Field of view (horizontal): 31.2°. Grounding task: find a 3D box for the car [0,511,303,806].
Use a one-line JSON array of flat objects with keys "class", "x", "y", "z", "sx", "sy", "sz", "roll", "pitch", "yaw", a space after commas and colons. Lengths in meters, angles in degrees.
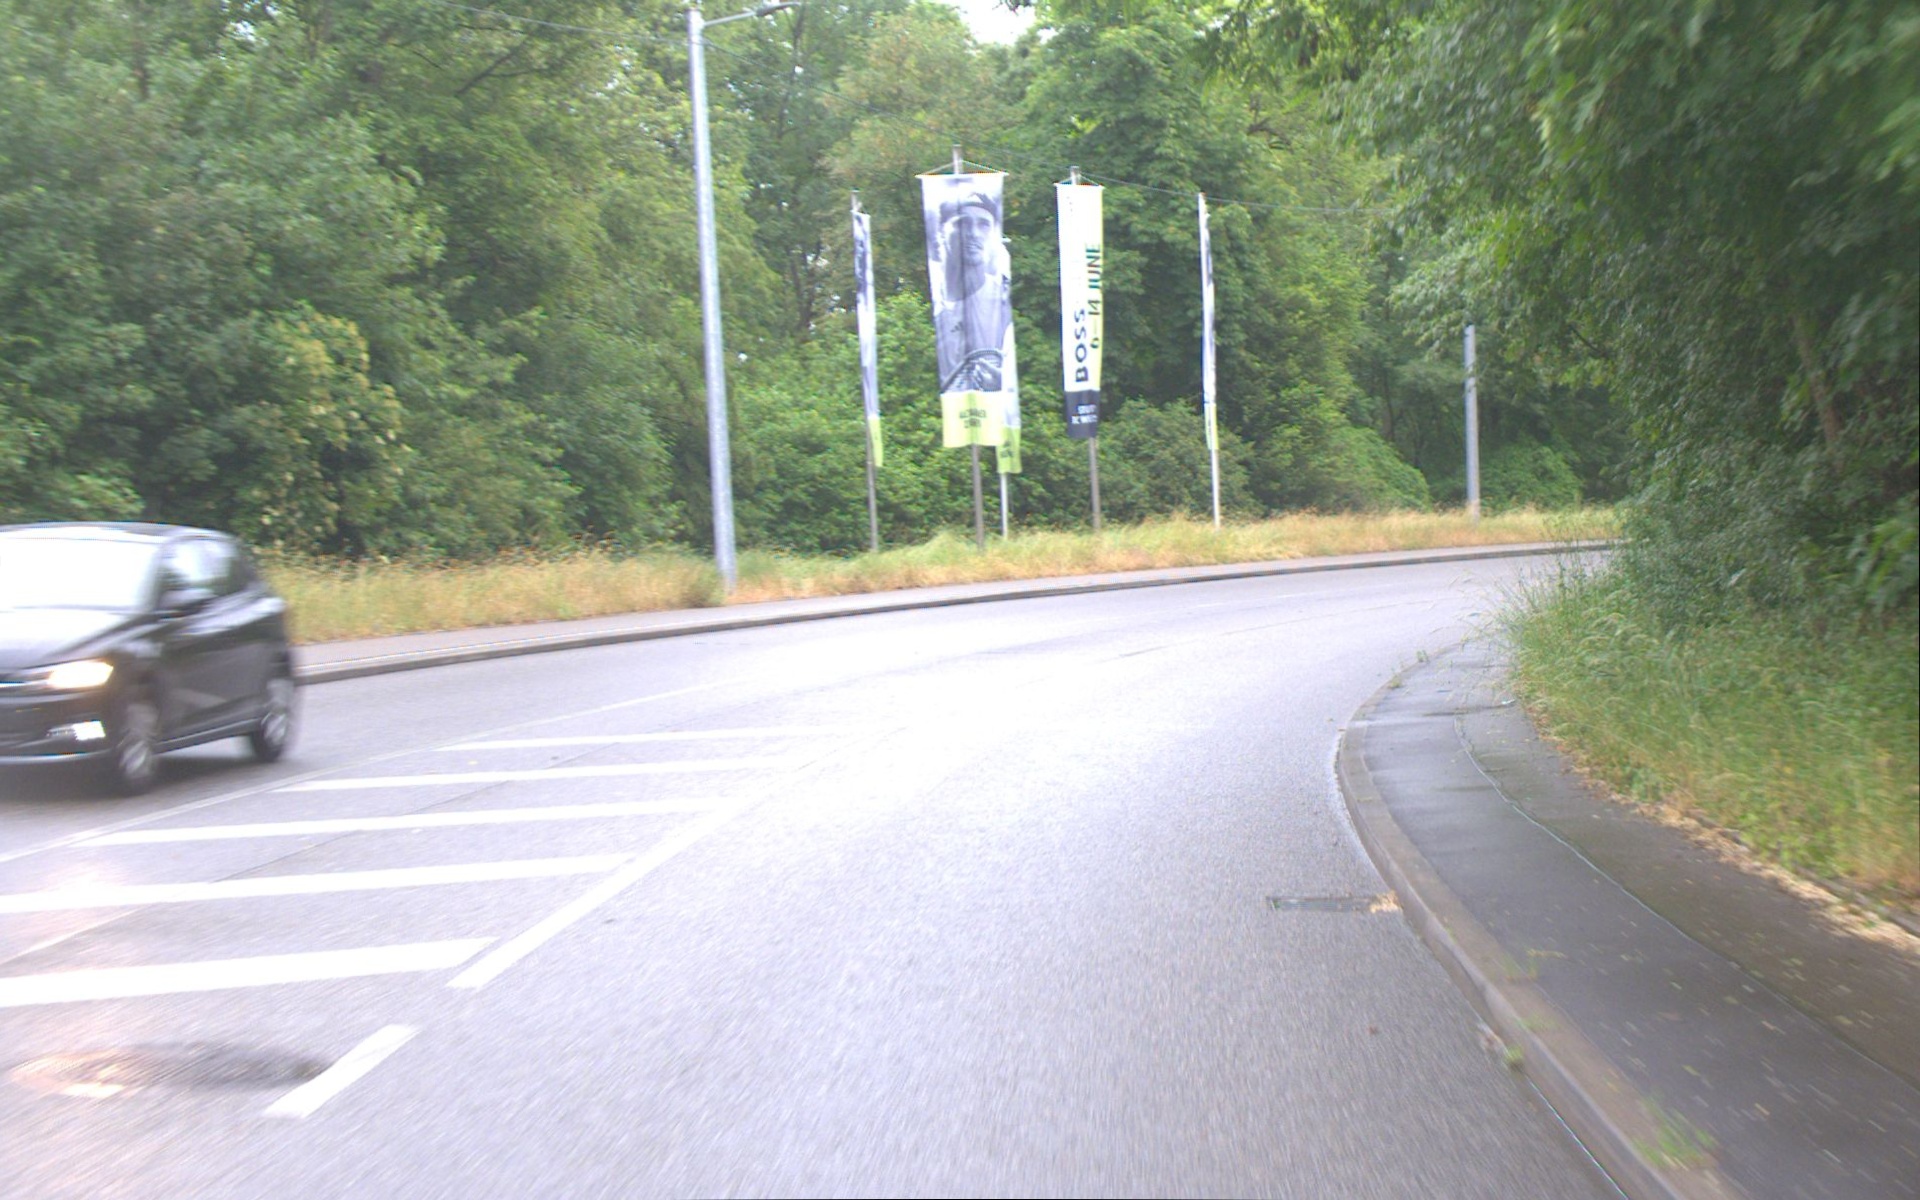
[{"class": "car", "x": -4.986, "y": 0.248, "z": 19.367, "sx": 1.594, "sy": 1.472, "sz": 3.792, "roll": 1, "pitch": 1, "yaw": 4}]
